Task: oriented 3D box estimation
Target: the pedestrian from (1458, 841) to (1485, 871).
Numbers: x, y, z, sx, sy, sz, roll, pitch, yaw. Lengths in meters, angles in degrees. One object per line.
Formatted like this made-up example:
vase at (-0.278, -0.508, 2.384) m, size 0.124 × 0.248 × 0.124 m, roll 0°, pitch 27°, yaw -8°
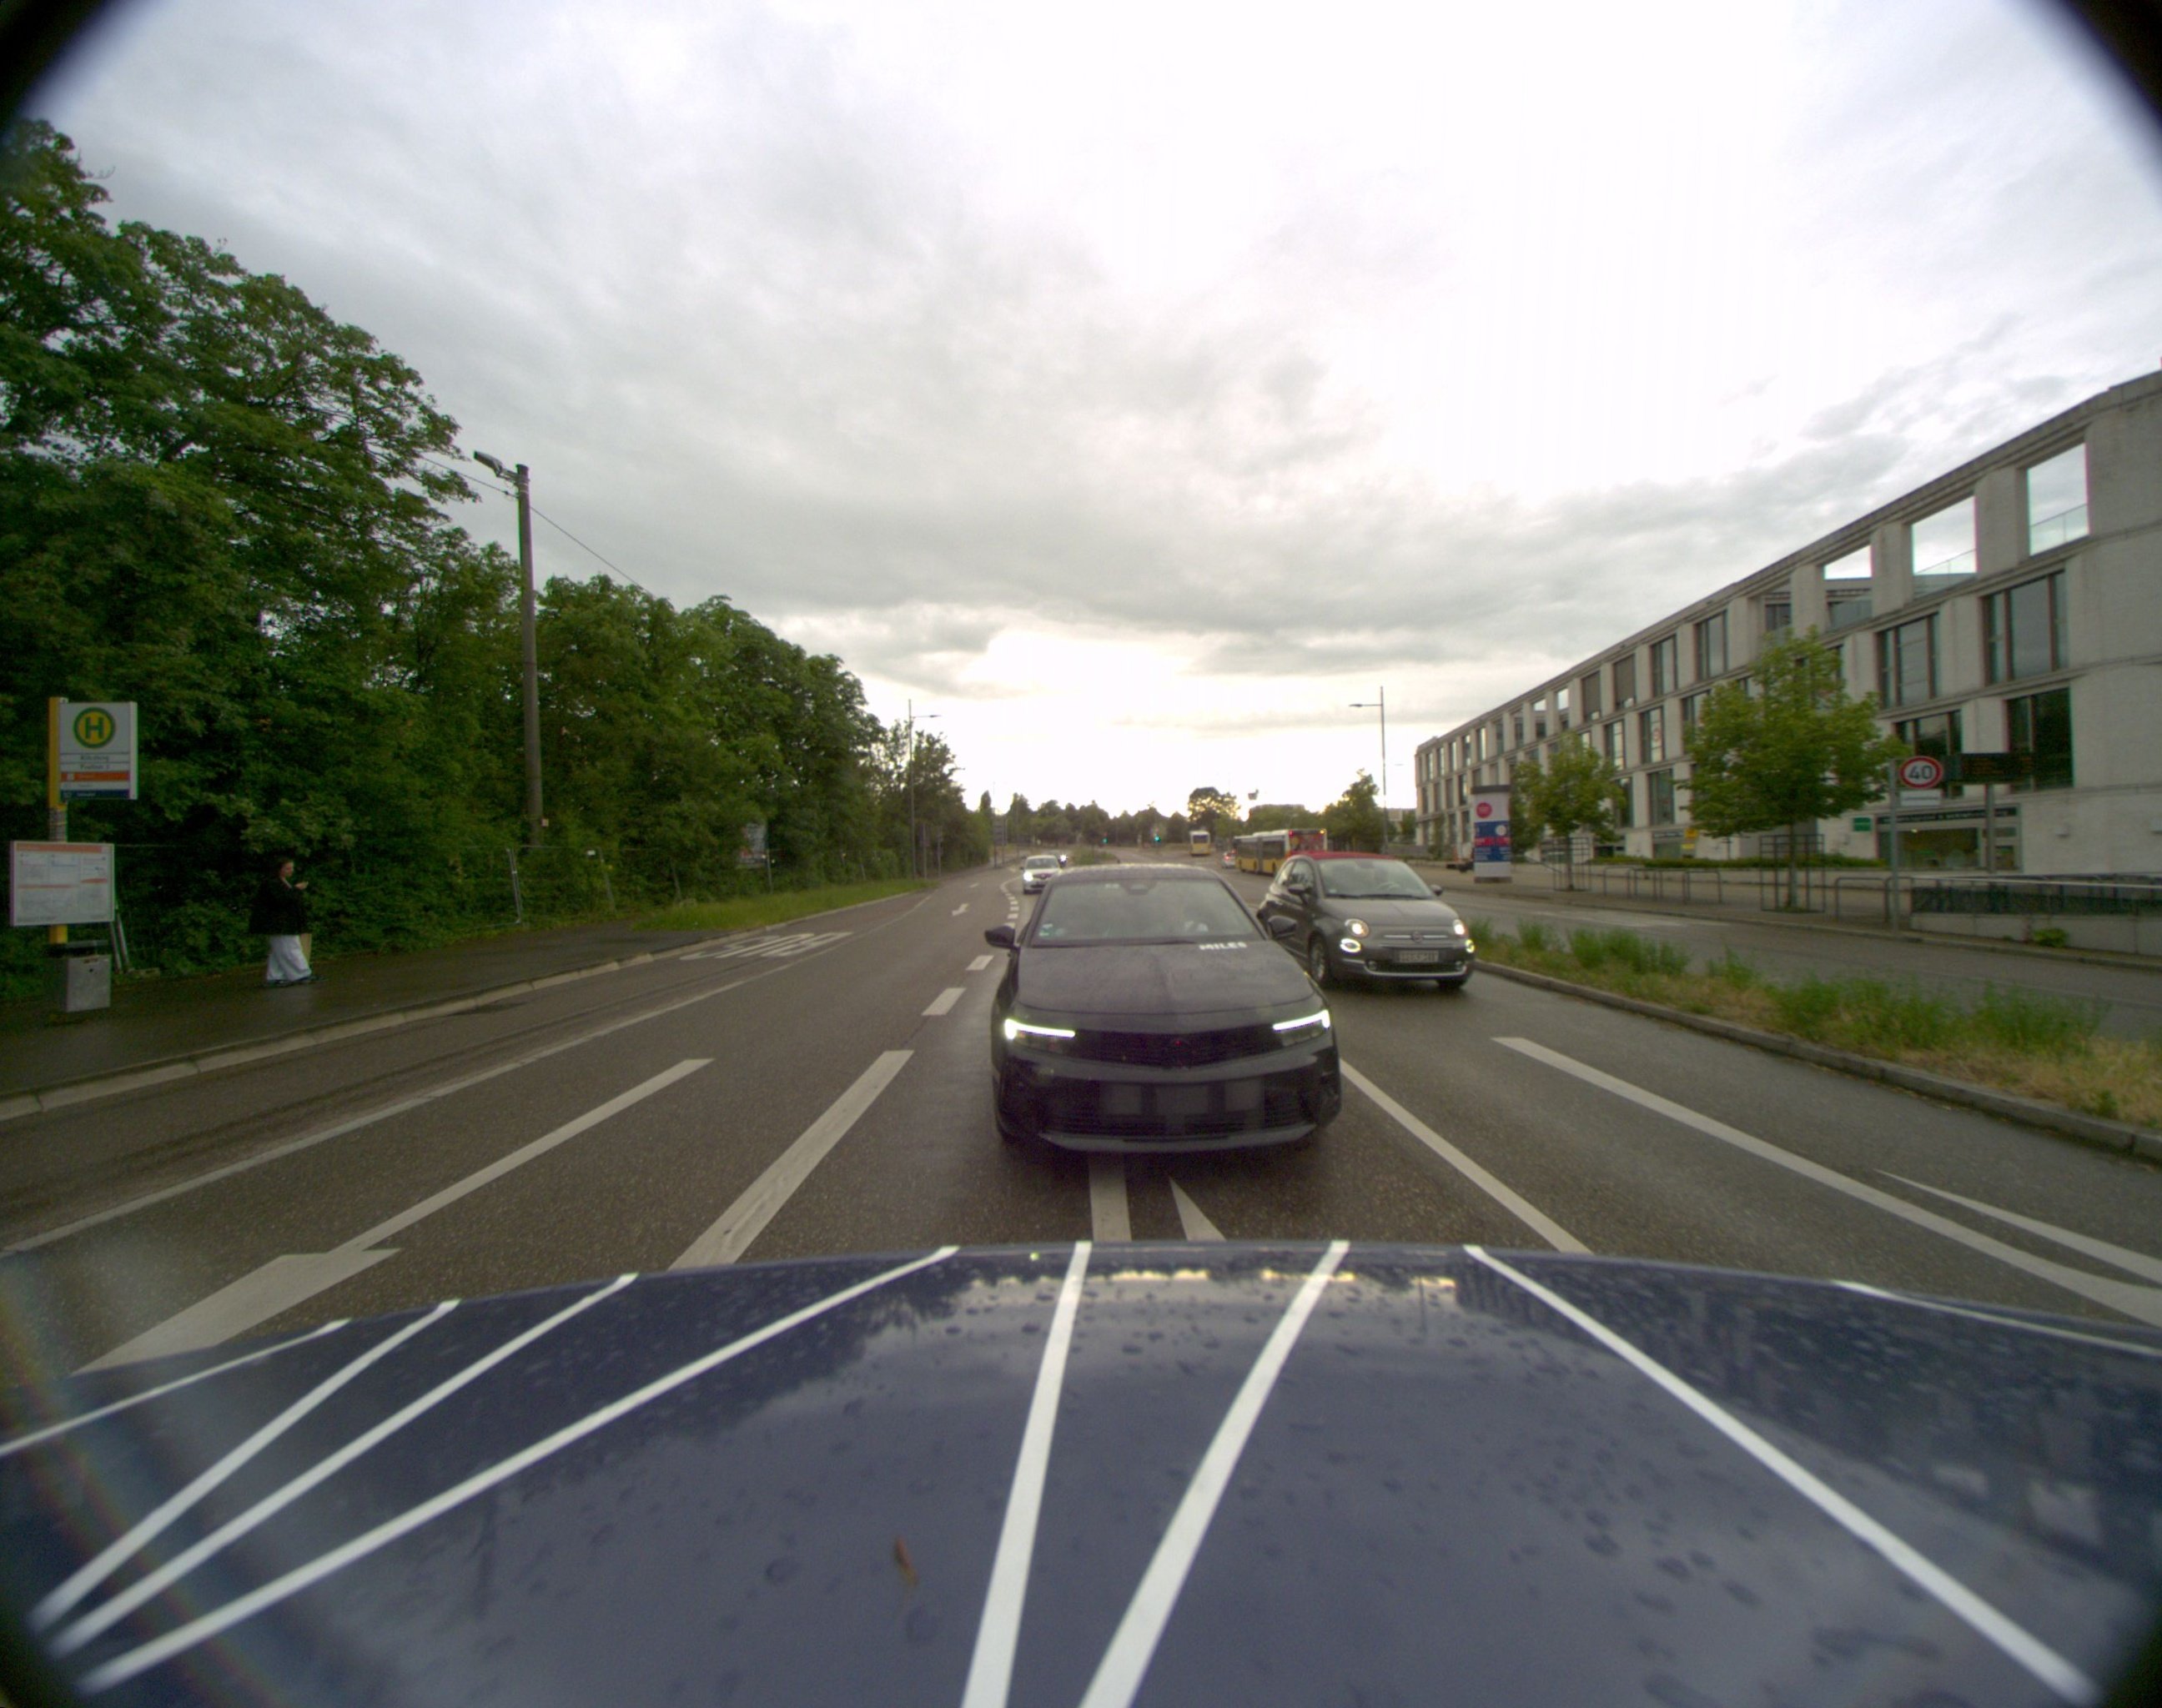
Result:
pedestrian at (21.167, 0.105, 41.206) m, size 0.868 × 1.572 × 0.981 m, roll -3°, pitch 1°, yaw -28°

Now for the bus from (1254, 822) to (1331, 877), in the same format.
bus at (13.820, -0.311, 50.526) m, size 2.759 × 3.194 × 9.207 m, roll -2°, pitch 1°, yaw 2°

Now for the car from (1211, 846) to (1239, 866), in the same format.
car at (13.579, 0.160, 71.725) m, size 1.867 × 1.777 × 3.999 m, roll -2°, pitch 1°, yaw 1°

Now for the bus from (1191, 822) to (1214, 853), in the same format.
bus at (18.359, -2.416, 113.855) m, size 2.757 × 4.129 × 19.359 m, roll -2°, pitch 1°, yaw 11°

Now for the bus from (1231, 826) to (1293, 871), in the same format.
bus at (14.110, -0.450, 60.031) m, size 2.693 × 3.163 × 9.912 m, roll -2°, pitch 1°, yaw 2°

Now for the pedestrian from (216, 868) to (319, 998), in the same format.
pedestrian at (-10.622, 1.008, 9.941) m, size 0.588 × 1.618 × 0.661 m, roll -1°, pitch 1°, yaw 1°

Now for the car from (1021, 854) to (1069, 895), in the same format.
car at (-1.614, 0.822, 32.970) m, size 1.902 × 1.524 × 4.765 m, roll -2°, pitch 1°, yaw -4°

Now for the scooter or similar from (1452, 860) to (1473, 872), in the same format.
scooter or similar at (20.799, 0.643, 41.408) m, size 0.642 × 0.648 × 0.831 m, roll -1°, pitch 1°, yaw -18°

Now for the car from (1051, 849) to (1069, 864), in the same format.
car at (-2.326, 0.261, 85.083) m, size 1.934 × 1.649 × 4.617 m, roll -1°, pitch 0°, yaw -2°

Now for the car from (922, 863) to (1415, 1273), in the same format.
car at (0.380, 0.882, 5.392) m, size 1.901 × 1.456 × 4.767 m, roll -2°, pitch 1°, yaw 1°

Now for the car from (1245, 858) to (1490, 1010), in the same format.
car at (3.301, 0.822, 9.482) m, size 1.631 × 1.473 × 3.505 m, roll -1°, pitch 1°, yaw -2°
